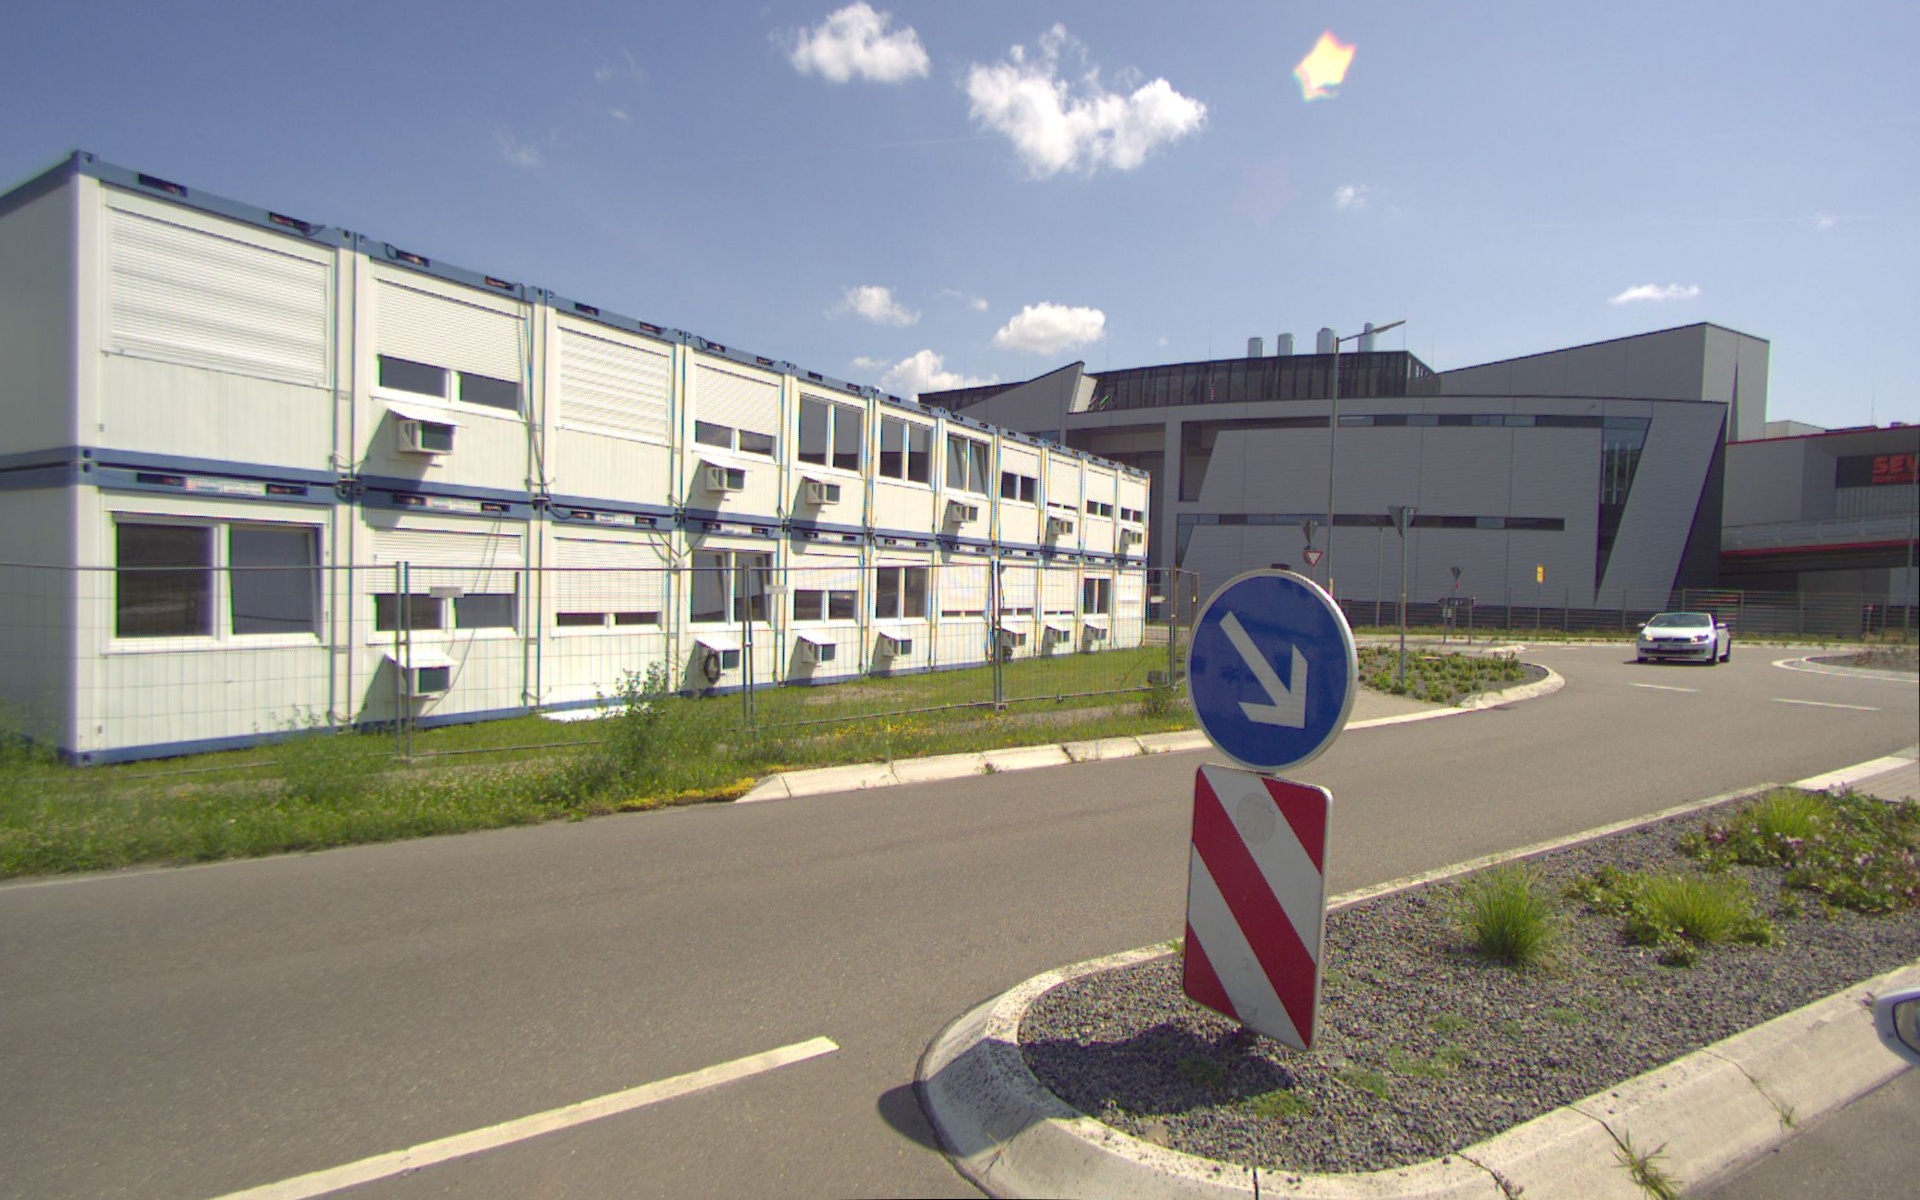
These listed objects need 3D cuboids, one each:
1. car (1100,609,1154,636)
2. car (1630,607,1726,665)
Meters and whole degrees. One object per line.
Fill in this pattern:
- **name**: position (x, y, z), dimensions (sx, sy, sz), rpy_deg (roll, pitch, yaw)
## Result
- **car**: position (11.440, 1.507, 68.536), dimensions (1.967, 1.713, 4.300), rpy_deg (3, 2, 35)
- **car**: position (20.105, 0.983, 28.052), dimensions (1.750, 1.447, 4.031), rpy_deg (2, 0, 42)
